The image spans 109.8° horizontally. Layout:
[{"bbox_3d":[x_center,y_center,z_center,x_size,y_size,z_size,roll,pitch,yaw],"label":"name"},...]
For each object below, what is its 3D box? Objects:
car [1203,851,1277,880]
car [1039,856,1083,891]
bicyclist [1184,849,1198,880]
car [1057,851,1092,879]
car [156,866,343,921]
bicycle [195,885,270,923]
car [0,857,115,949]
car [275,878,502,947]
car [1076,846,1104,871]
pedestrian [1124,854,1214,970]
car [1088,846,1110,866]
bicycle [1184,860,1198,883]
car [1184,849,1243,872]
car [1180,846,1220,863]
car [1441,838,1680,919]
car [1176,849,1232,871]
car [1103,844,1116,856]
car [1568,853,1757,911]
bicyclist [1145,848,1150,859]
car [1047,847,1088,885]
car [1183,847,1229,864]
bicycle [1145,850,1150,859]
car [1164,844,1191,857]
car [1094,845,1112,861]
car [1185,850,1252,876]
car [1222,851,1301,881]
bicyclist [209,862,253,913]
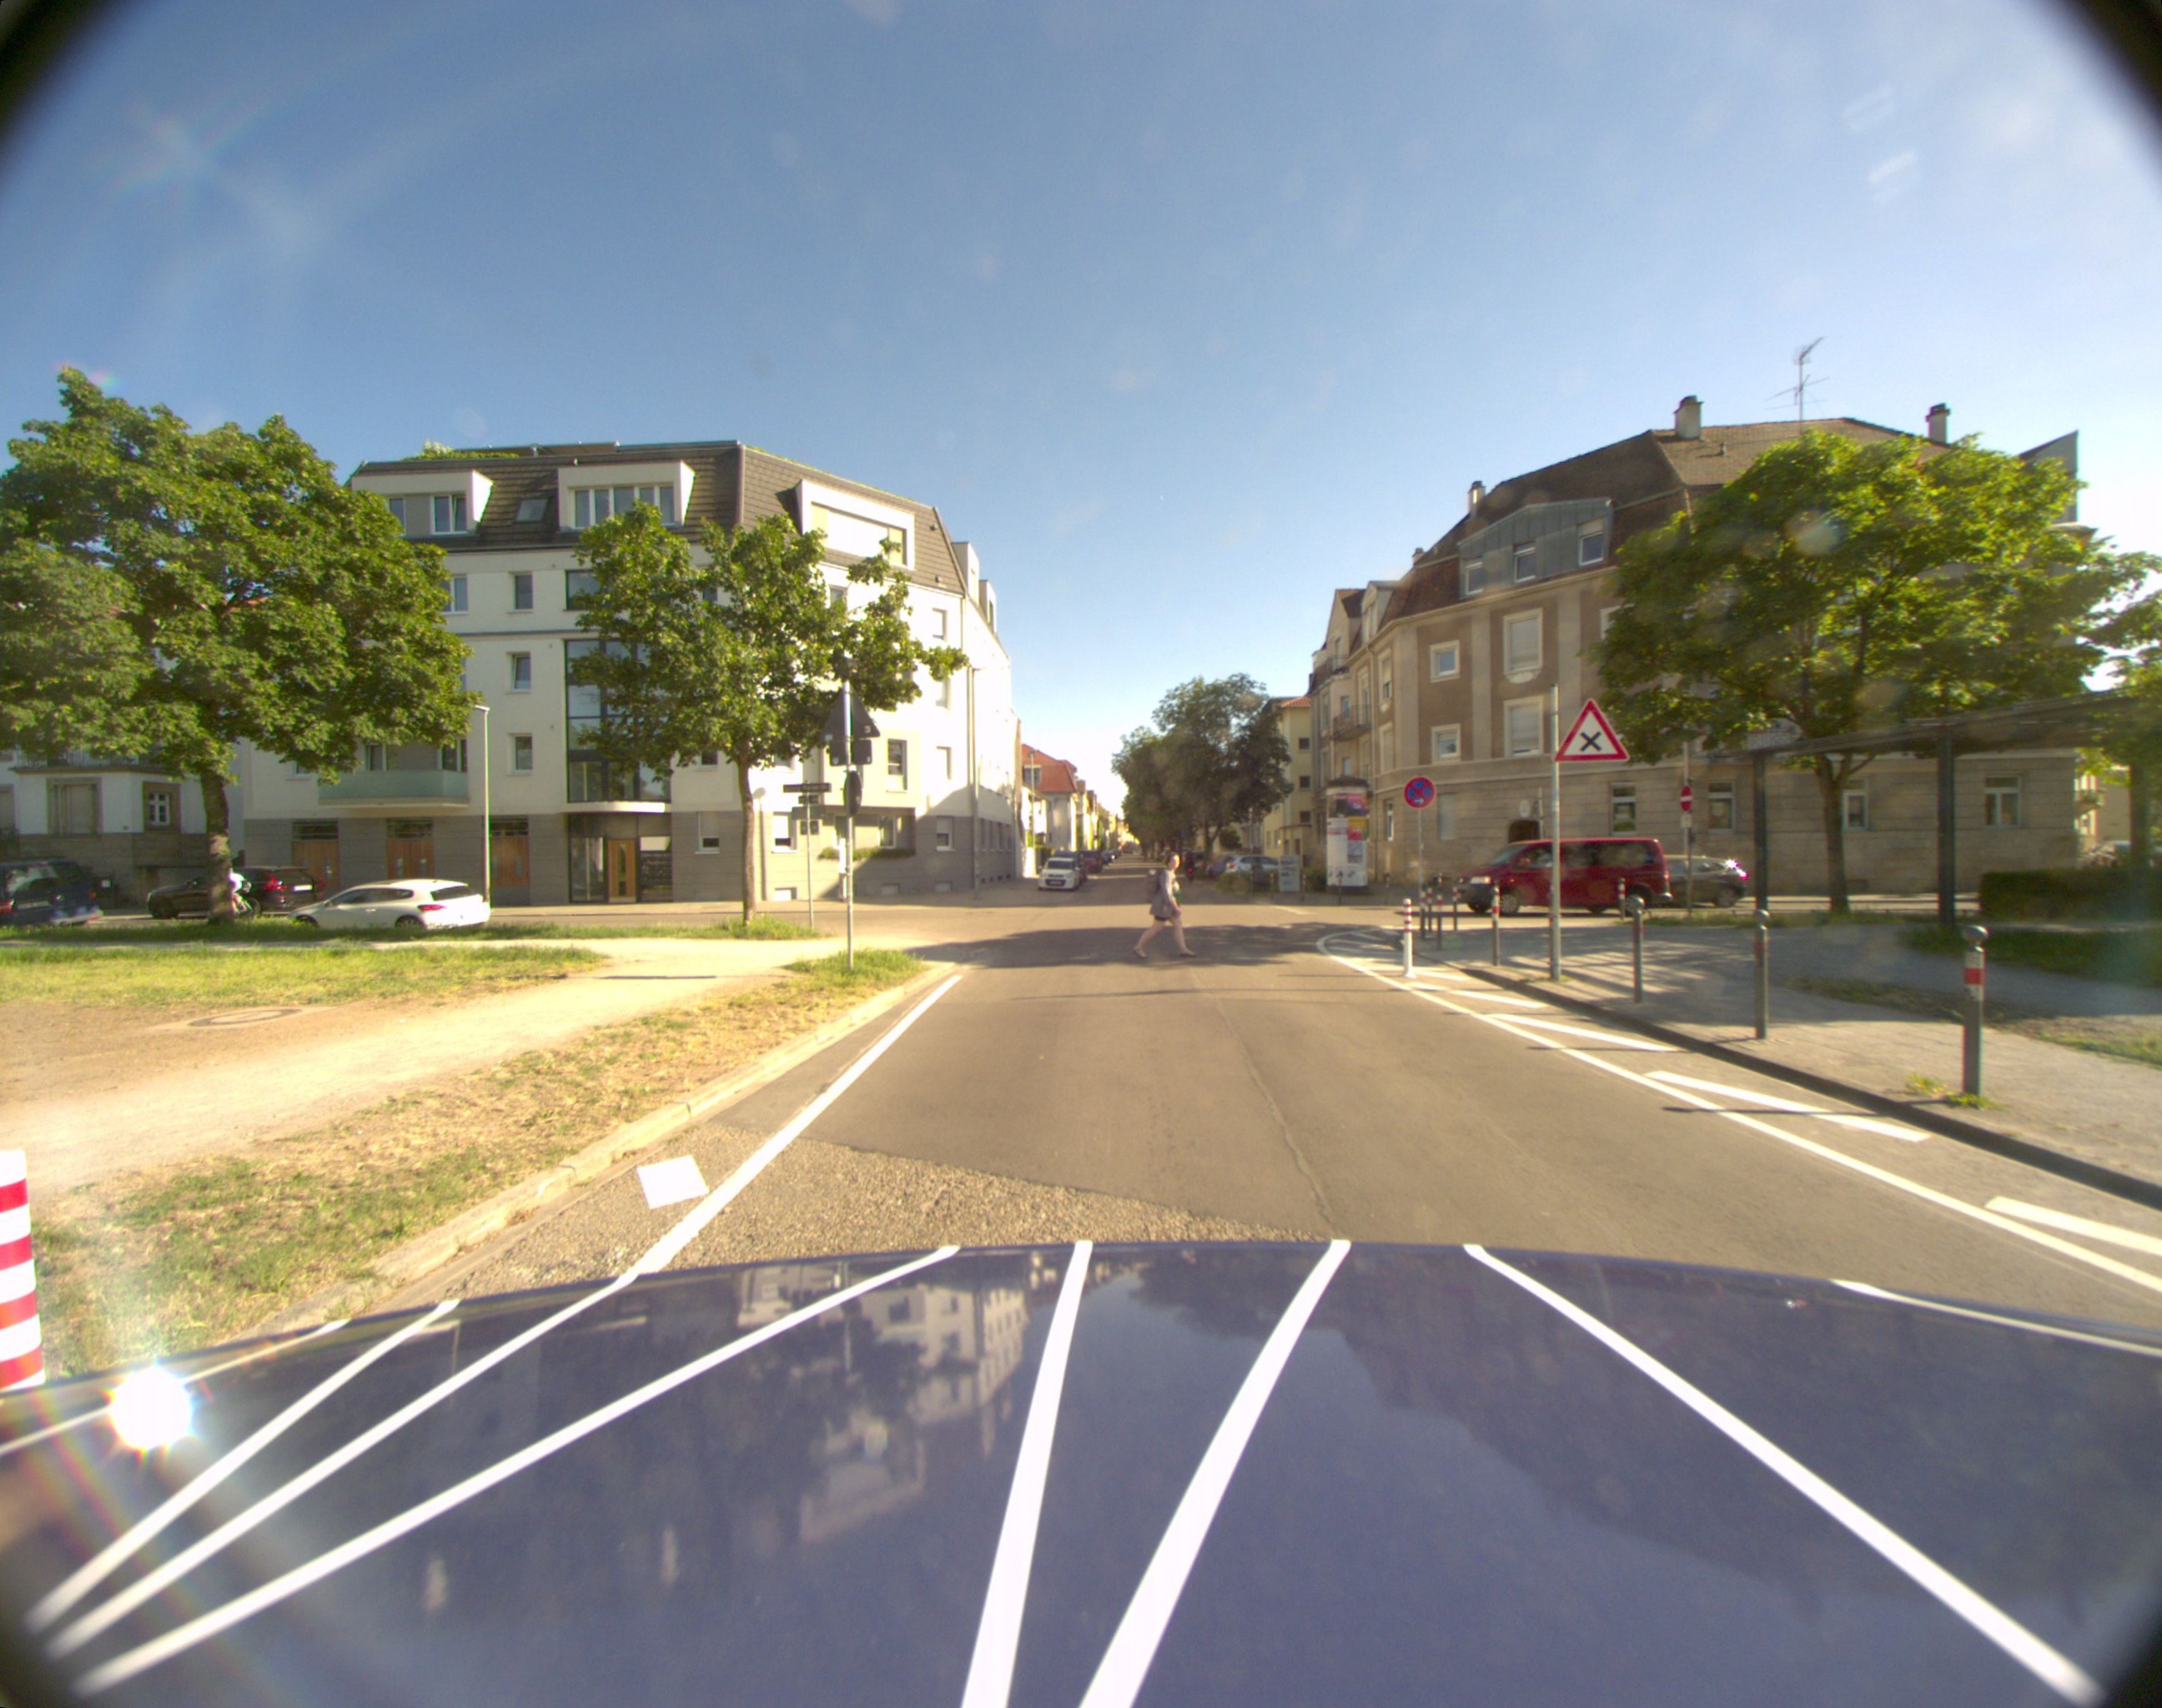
[{"bbox_3d":[8.905,0.634,42.693,3.788,1.486,1.692,-2,1,1],"label":"car"},{"bbox_3d":[-0.877,0.859,35.091,1.664,1.440,3.689,2,1,4],"label":"car"},{"bbox_3d":[5.715,0.554,39.529,0.644,1.610,0.637,-1,1,5],"label":"bicyclist"},{"bbox_3d":[-0.351,0.622,44.946,1.664,1.533,4.067,2,1,4],"label":"car"},{"bbox_3d":[-27.548,1.281,25.262,4.284,1.673,1.896,-1,2,5],"label":"car"},{"bbox_3d":[-24.991,1.458,22.391,1.707,1.083,0.507,-1,1,3],"label":"bicycle"},{"bbox_3d":[-27.480,1.194,19.166,3.989,2.073,1.783,-1,5,5],"label":"car"},{"bbox_3d":[-16.899,1.407,18.678,3.990,1.426,1.739,-1,5,4],"label":"car"},{"bbox_3d":[0.746,0.307,61.302,1.883,1.860,4.402,2,1,4],"label":"car"},{"bbox_3d":[1.331,0.848,11.695,1.091,1.664,0.912,-2,1,-13],"label":"pedestrian"},{"bbox_3d":[1.827,0.129,75.415,1.883,1.860,4.402,2,1,4],"label":"car"},{"bbox_3d":[5.722,0.904,39.581,0.644,1.102,2.066,-1,1,5],"label":"bicycle"},{"bbox_3d":[9.422,0.428,54.193,3.791,1.486,1.691,-2,1,-9],"label":"car"},{"bbox_3d":[11.393,0.034,72.981,3.528,1.486,1.692,-2,1,-1],"label":"car"},{"bbox_3d":[12.246,0.602,19.722,4.880,1.950,1.897,0,2,7],"label":"car"},{"bbox_3d":[9.248,0.457,57.223,3.791,1.486,1.691,-2,1,-9],"label":"car"},{"bbox_3d":[4.456,-0.610,117.172,1.883,1.734,4.403,0,0,4],"label":"car"},{"bbox_3d":[16.878,0.778,22.217,4.011,1.476,1.867,-1,4,1],"label":"car"},{"bbox_3d":[9.089,-0.066,104.012,0.644,1.557,1.043,-1,1,5],"label":"bicyclist"},{"bbox_3d":[-0.650,0.583,39.548,1.664,1.825,4.257,2,1,4],"label":"car"},{"bbox_3d":[11.272,0.124,68.593,3.789,1.486,1.692,-2,1,-1],"label":"car"},{"bbox_3d":[9.100,0.074,104.157,0.644,1.102,2.066,-1,1,5],"label":"bicycle"},{"bbox_3d":[13.303,-0.464,105.291,3.527,1.693,1.692,-2,1,2],"label":"car"},{"bbox_3d":[2.660,-0.084,90.808,1.883,1.860,4.403,0,0,4],"label":"car"},{"bbox_3d":[8.661,0.555,48.029,3.791,1.486,1.691,-2,1,-9],"label":"car"},{"bbox_3d":[9.570,0.638,40.464,3.788,1.436,1.692,-2,1,1],"label":"car"},{"bbox_3d":[-25.029,0.979,22.381,0.687,1.456,0.498,-1,1,3],"label":"bicyclist"}]
